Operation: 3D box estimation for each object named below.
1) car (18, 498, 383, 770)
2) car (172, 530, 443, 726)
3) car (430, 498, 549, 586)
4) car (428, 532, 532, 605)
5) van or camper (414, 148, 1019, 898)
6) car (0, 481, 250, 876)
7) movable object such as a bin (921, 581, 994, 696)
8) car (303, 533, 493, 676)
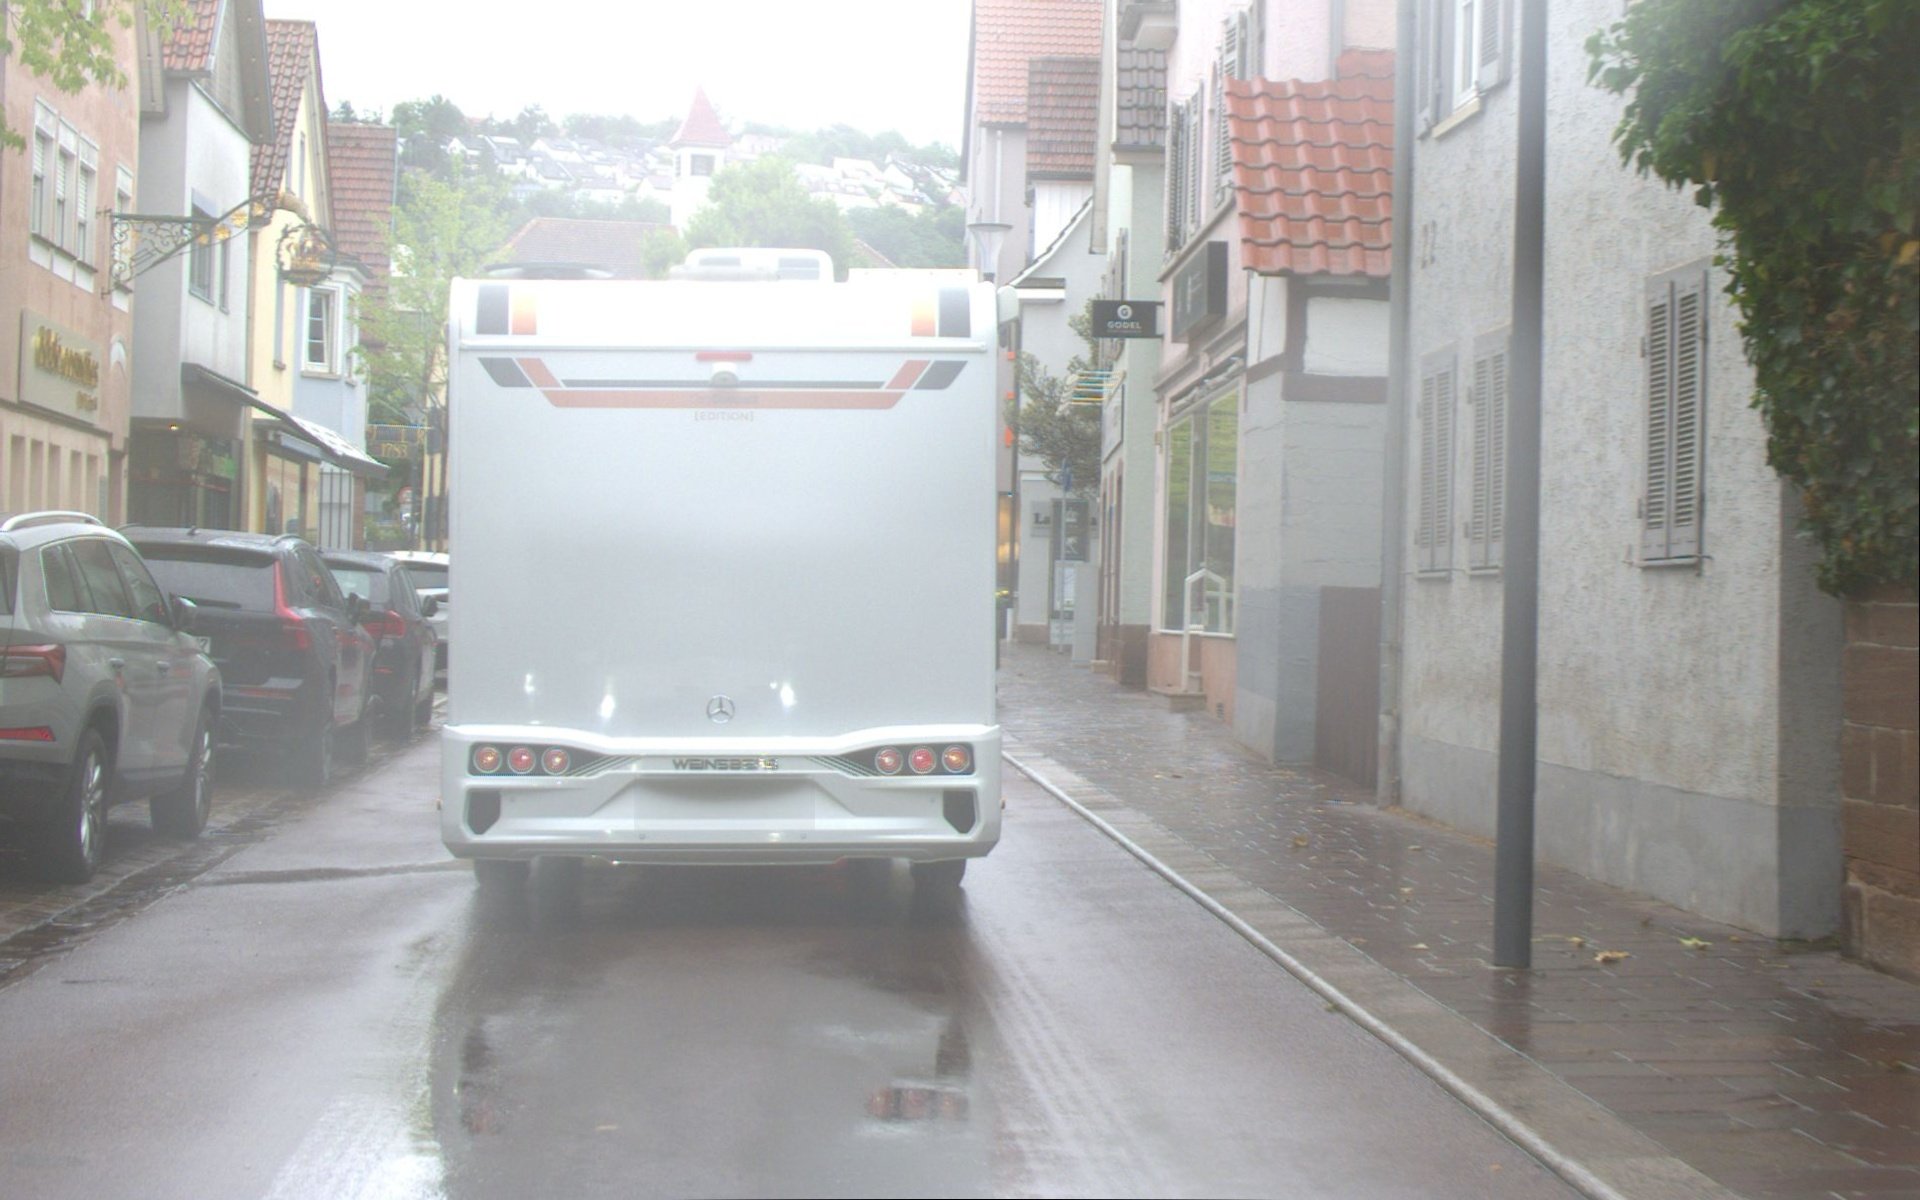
[{"bbox_3d":[-5.154,0.226,23.899,1.833,1.669,4.541,1,0,-5],"label":"car"},{"bbox_3d":[-5.590,0.238,29.920,1.833,1.546,4.282,1,0,-5],"label":"car"},{"bbox_3d":[-8.562,-1.045,62.339,1.993,1.467,4.001,2,1,-9],"label":"car"},{"bbox_3d":[-13.849,-0.901,99.021,1.993,2.007,4.001,1,0,-22],"label":"car"},{"bbox_3d":[-1.307,-0.279,16.775,2.325,2.909,6.394,1,0,-6],"label":"van or camper"},{"bbox_3d":[-4.792,0.313,16.857,1.771,1.669,4.480,3,0,-2],"label":"car"},{"bbox_3d":[-0.029,0.404,36.279,0.718,1.197,0.573,1,-1,-2],"label":"movable object such as a bin"},{"bbox_3d":[-6.579,0.064,40.598,1.827,1.561,4.000,1,0,-4],"label":"car"}]
